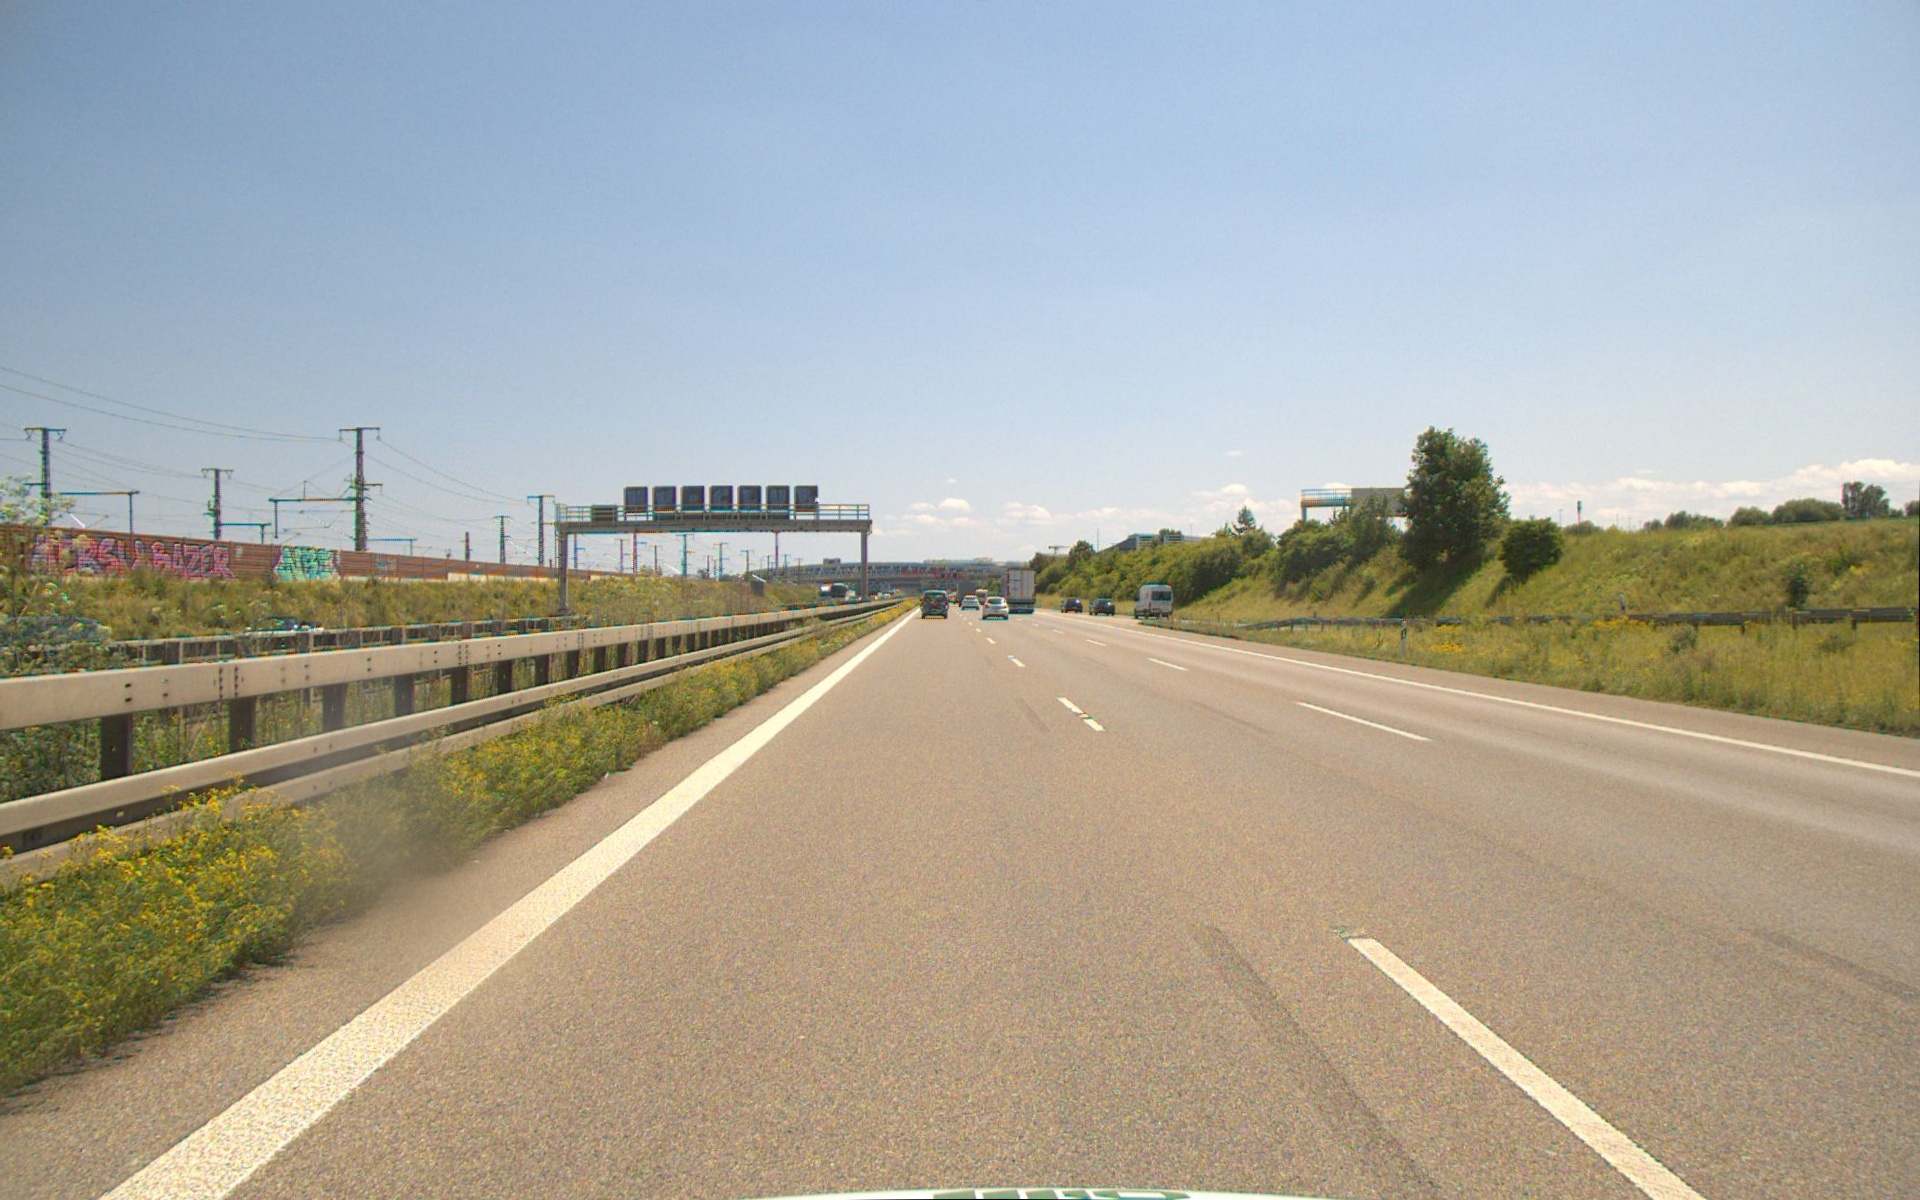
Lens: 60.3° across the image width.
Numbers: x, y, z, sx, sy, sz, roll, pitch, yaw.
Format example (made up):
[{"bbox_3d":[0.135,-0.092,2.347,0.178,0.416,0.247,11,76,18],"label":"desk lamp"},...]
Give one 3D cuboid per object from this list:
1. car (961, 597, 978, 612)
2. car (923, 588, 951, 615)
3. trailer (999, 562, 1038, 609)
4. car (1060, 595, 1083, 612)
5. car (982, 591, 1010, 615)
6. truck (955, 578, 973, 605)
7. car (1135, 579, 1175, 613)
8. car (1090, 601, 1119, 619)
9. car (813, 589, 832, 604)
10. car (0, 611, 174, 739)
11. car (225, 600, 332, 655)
[{"bbox_3d":[1.020,0.448,177.969,1.842,1.553,4.000,1,-1,0],"label":"car"},{"bbox_3d":[-1.531,0.116,110.966,1.842,1.806,3.999,0,-1,-1],"label":"car"},{"bbox_3d":[5.336,-1.310,151.540,3.113,4.130,9.438,-1,0,-1],"label":"trailer"},{"bbox_3d":[11.209,0.346,166.890,1.953,1.624,3.998,2,-1,-1],"label":"car"},{"bbox_3d":[2.437,0.231,111.032,1.842,1.553,4.001,1,-1,2],"label":"car"},{"bbox_3d":[0.567,-1.140,220.339,2.307,3.476,6.056,0,0,-1],"label":"truck"},{"bbox_3d":[15.021,-0.315,127.742,2.228,2.572,5.397,0,0,-2],"label":"car"},{"bbox_3d":[12.789,0.912,146.688,1.954,1.534,3.997,2,-1,-3],"label":"car"},{"bbox_3d":[-15.321,-0.405,184.207,1.767,1.601,4.000,0,0,-1],"label":"car"},{"bbox_3d":[-12.215,0.920,21.919,1.779,1.505,3.842,0,0,-1],"label":"car"},{"bbox_3d":[-20.392,0.795,49.644,1.685,1.571,3.809,0,0,-1],"label":"car"}]
